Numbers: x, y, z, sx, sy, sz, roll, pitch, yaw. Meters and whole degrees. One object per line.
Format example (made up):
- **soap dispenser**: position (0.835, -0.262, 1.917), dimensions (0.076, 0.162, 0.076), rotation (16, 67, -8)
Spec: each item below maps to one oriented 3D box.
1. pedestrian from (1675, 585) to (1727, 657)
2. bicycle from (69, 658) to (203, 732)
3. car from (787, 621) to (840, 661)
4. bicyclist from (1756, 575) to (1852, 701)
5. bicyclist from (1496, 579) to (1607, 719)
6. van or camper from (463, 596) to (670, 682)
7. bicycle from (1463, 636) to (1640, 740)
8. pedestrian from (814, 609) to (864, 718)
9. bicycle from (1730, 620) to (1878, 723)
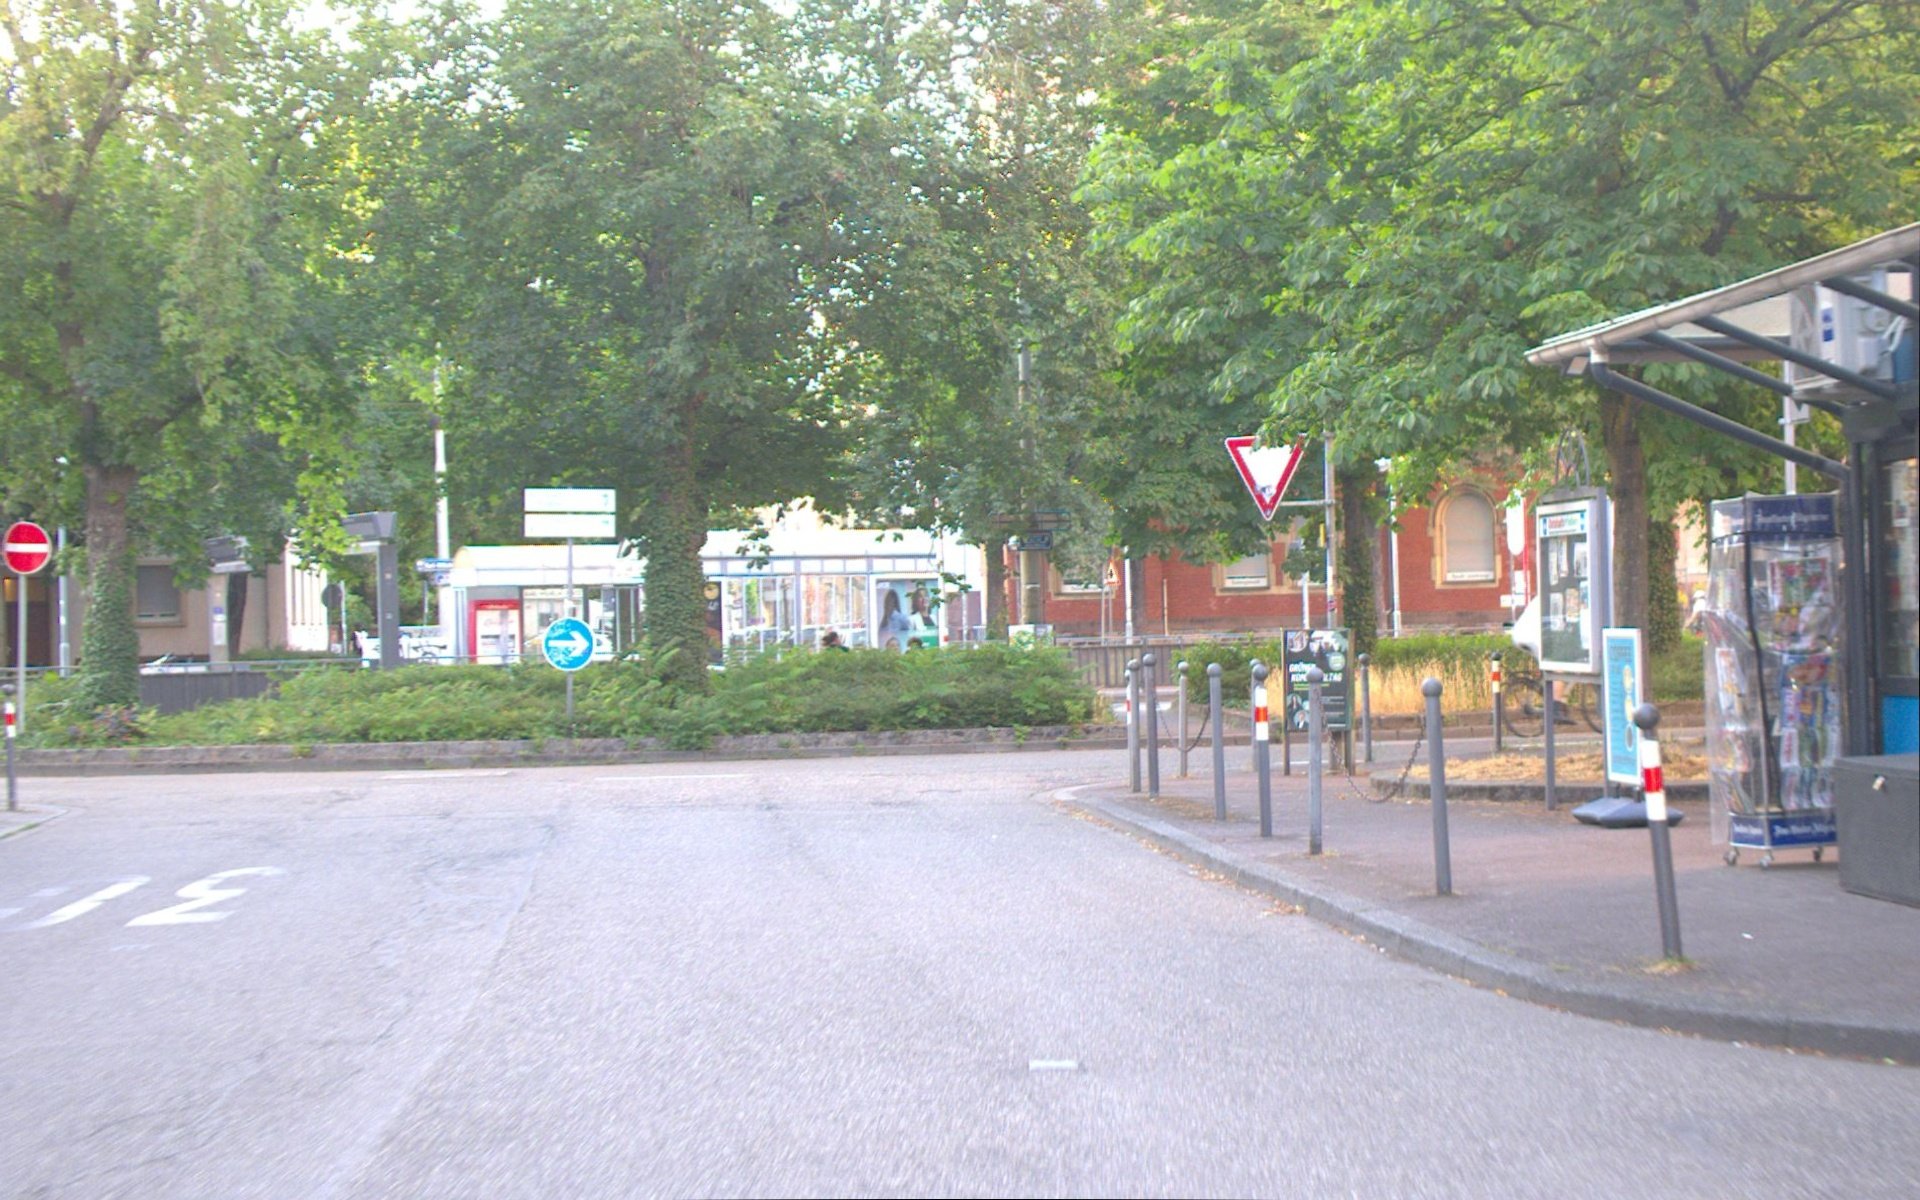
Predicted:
- **pedestrian**: position (16.016, 0.445, 74.328), dimensions (0.866, 1.521, 0.714), rotation (-2, 0, 33)
- **bicycle**: position (-12.390, 1.424, 51.714), dimensions (1.849, 1.048, 0.546), rotation (-2, 0, -26)
- **car**: position (-6.458, 1.795, 151.111), dimensions (1.993, 1.698, 4.720), rotation (0, -1, -6)
- **bicyclist**: position (9.282, 0.421, 37.797), dimensions (0.708, 1.354, 0.736), rotation (-2, 0, 45)
- **bicyclist**: position (6.537, 0.537, 38.006), dimensions (0.916, 1.497, 0.709), rotation (-2, 0, -26)
- **van or camper**: position (-14.354, 1.410, 125.181), dimensions (7.363, 3.073, 2.674), rotation (0, -1, -9)
- **bicycle**: position (6.538, 0.964, 38.001), dimensions (1.828, 1.066, 0.709), rotation (-2, 0, -26)
- **pedestrian**: position (-1.613, 0.835, 45.836), dimensions (0.616, 1.426, 0.655), rotation (-1, 0, -4)
- **bicycle**: position (9.283, 0.779, 37.785), dimensions (0.708, 1.066, 1.830), rotation (-2, 0, 45)
